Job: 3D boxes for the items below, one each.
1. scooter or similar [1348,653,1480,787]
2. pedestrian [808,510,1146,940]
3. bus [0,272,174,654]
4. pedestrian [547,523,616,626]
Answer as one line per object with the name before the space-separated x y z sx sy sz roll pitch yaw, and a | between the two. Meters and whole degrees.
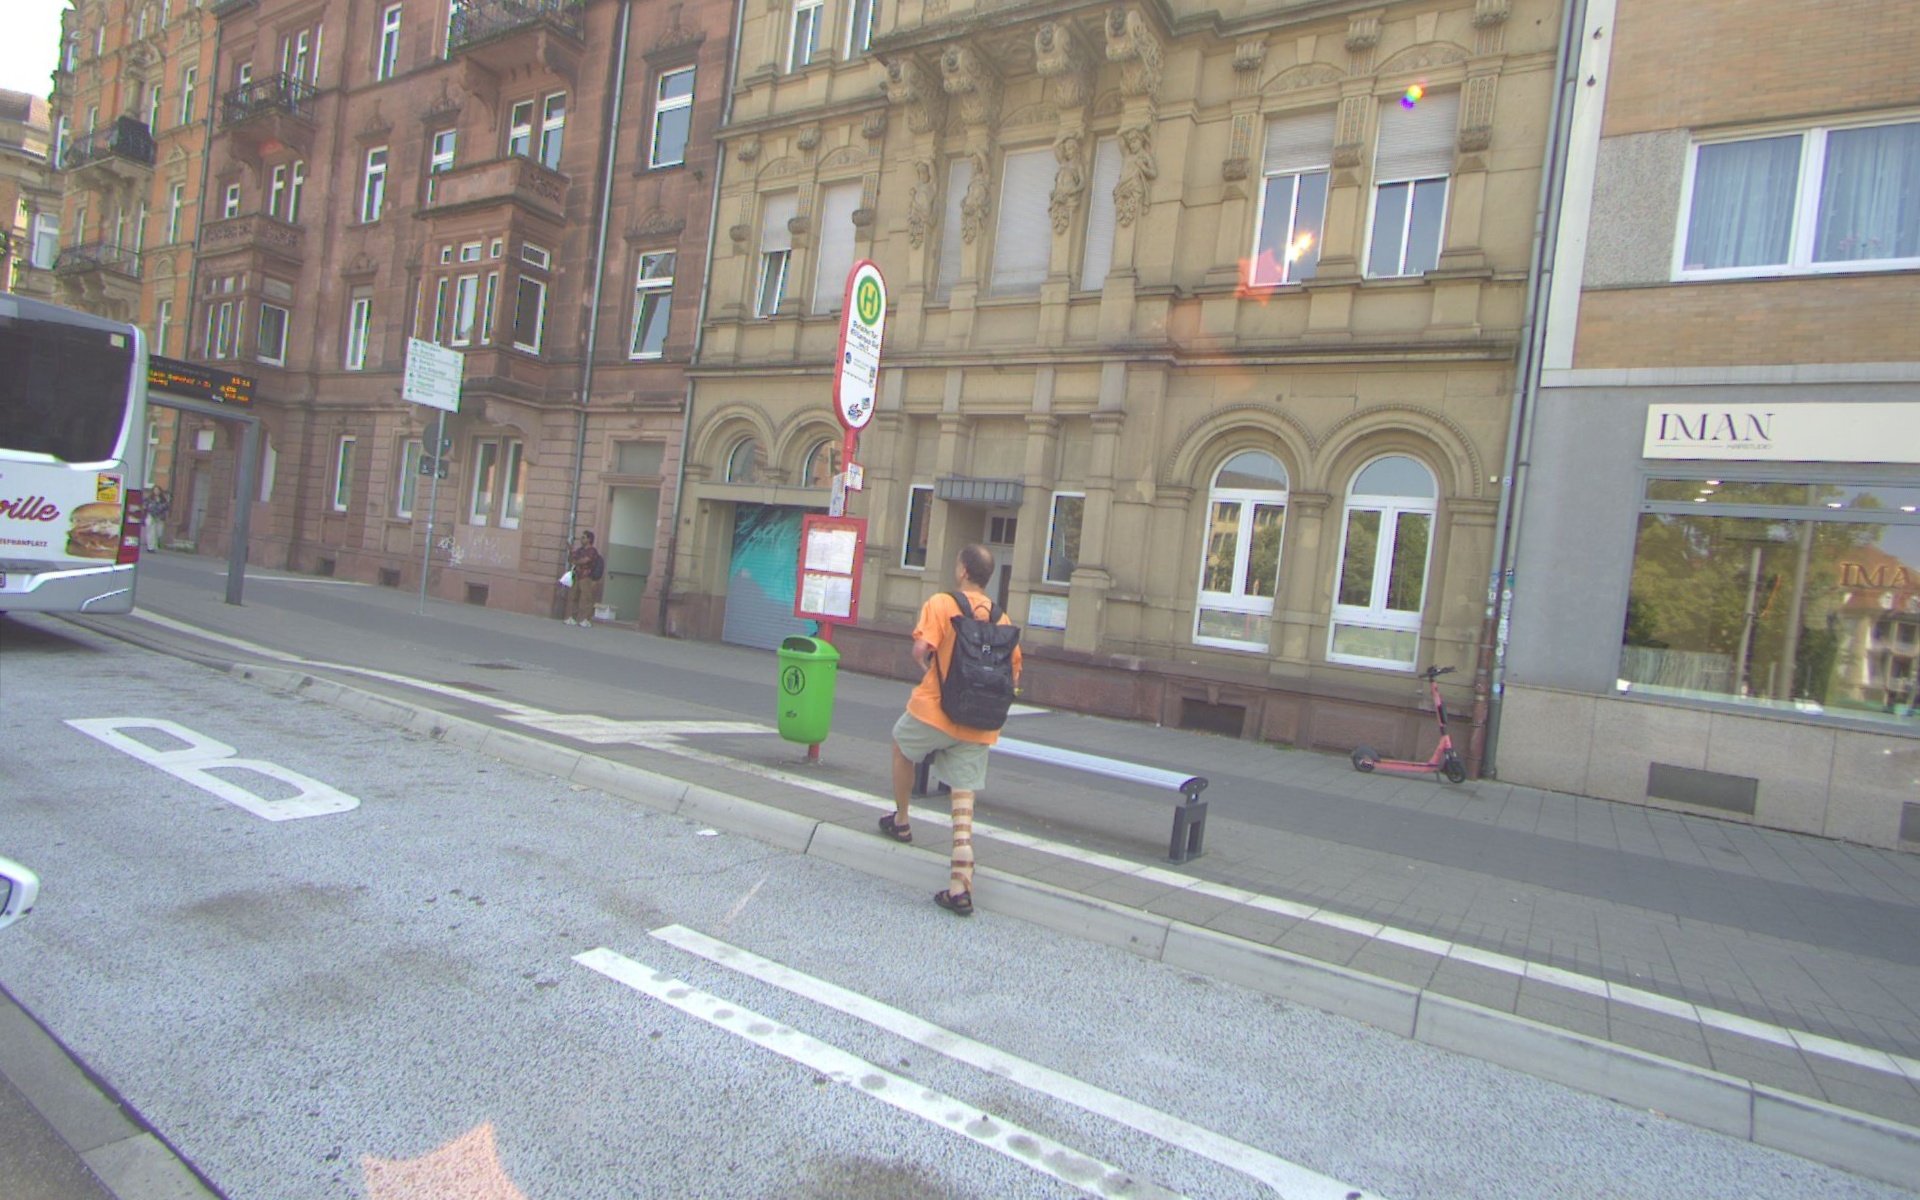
scooter or similar | 4.840 1.254 10.739 1.122 1.228 0.476 7 1 27
pedestrian | 0.031 0.541 4.870 0.956 1.762 1.230 7 0 -30
bus | -13.072 -1.691 11.169 11.755 3.149 2.744 7 3 31
pedestrian | -7.075 -0.458 18.839 0.729 1.800 0.870 7 1 4
